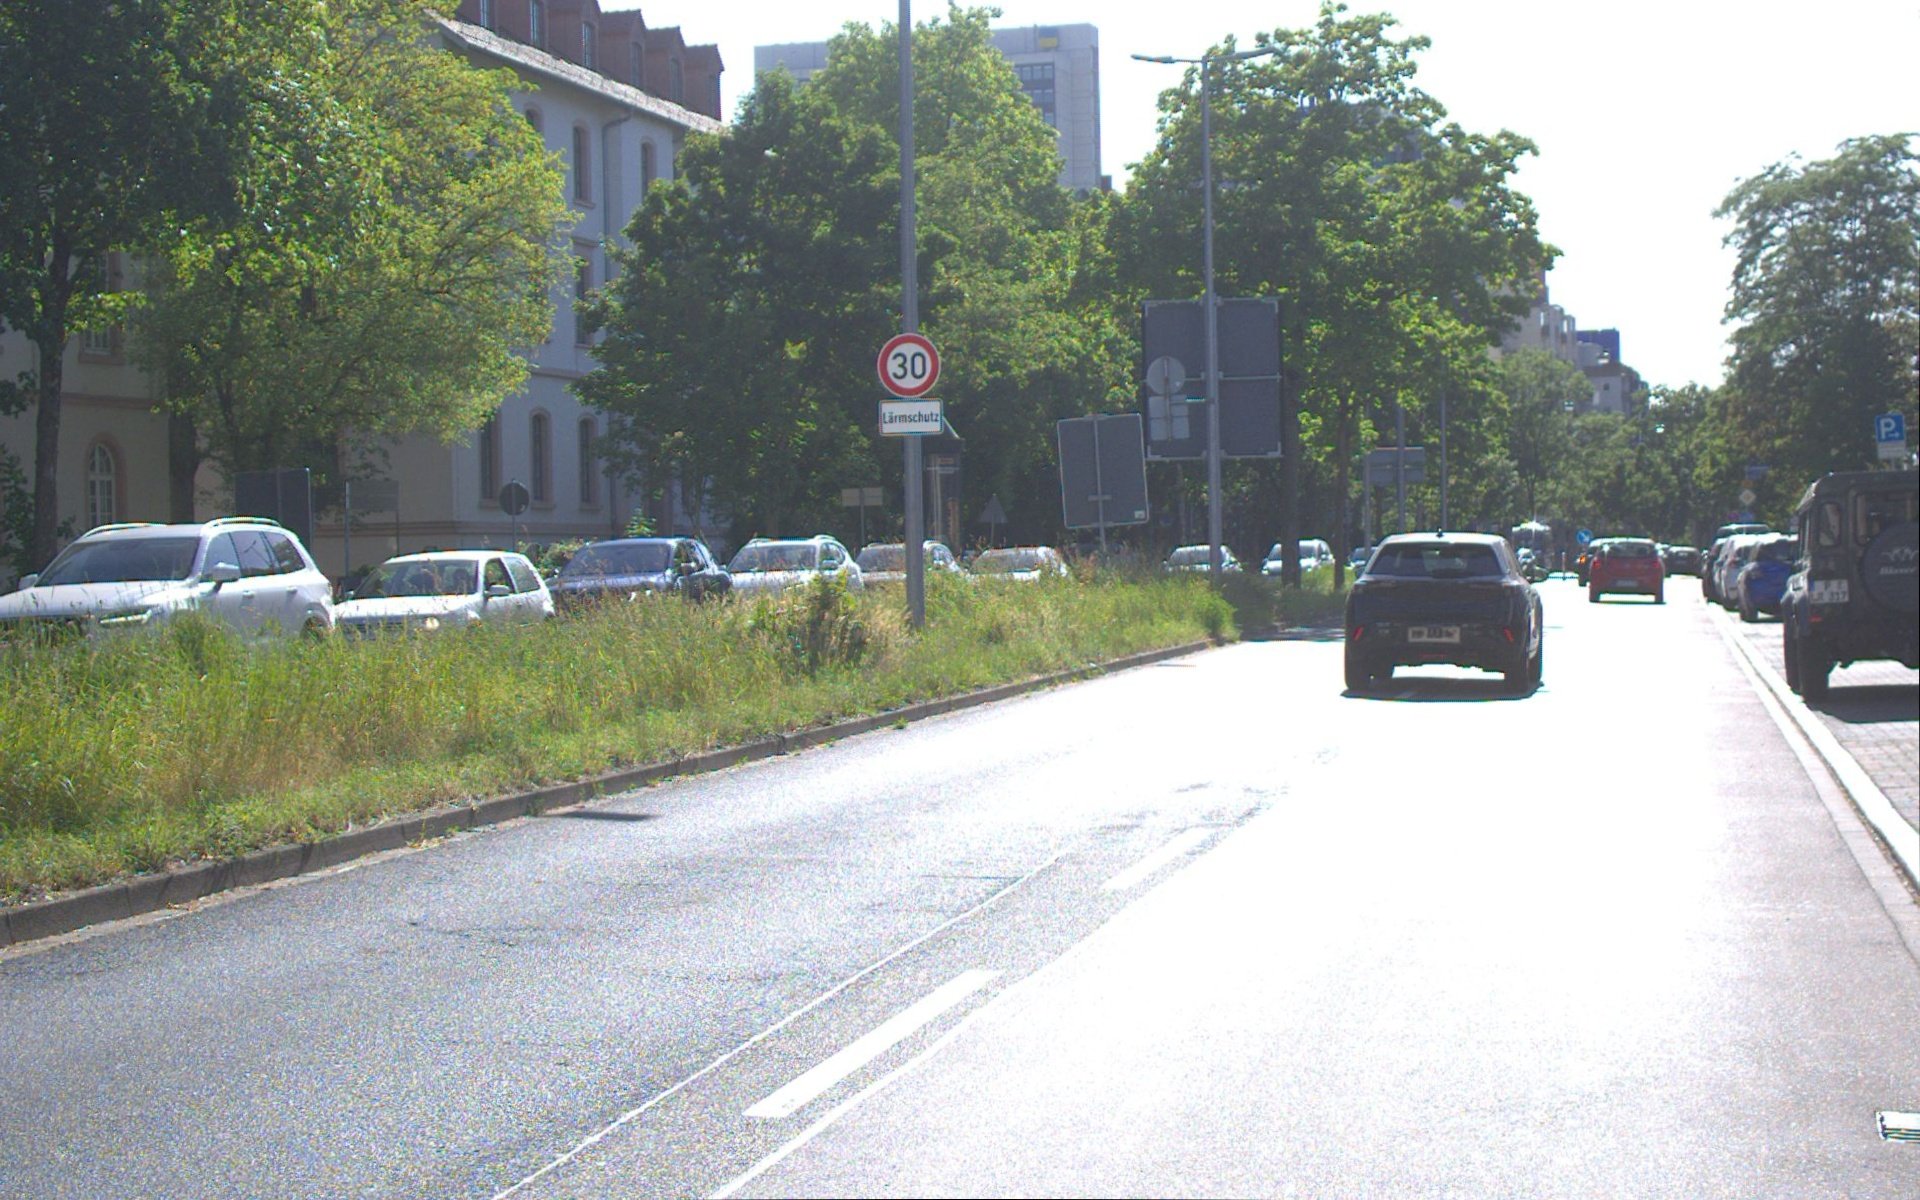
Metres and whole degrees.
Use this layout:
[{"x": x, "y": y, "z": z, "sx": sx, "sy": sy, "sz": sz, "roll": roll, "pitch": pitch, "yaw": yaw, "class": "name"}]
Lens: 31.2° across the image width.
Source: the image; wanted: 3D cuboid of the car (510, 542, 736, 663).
[{"x": -4.425, "y": 0.001, "z": 45.798, "sx": 1.796, "sy": 1.514, "sz": 4.442, "roll": -1, "pitch": 1, "yaw": 11, "class": "car"}]

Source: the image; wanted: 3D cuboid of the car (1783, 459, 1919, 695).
[{"x": 8.636, "y": -0.238, "z": 32.000, "sx": 1.661, "sy": 2.007, "sz": 4.774, "roll": -2, "pitch": 0, "yaw": 12, "class": "car"}]

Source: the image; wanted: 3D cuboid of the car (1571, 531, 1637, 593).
[{"x": 20.066, "y": -1.186, "z": 107.171, "sx": 1.962, "sy": 1.875, "sz": 3.998, "roll": -1, "pitch": 1, "yaw": 10, "class": "car"}]

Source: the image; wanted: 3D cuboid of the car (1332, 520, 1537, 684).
[{"x": 4.813, "y": -0.019, "z": 34.582, "sx": 1.895, "sy": 1.514, "sz": 3.999, "roll": 1, "pitch": 1, "yaw": 9, "class": "car"}]

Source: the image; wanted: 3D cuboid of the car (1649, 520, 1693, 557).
[{"x": 33.001, "y": -2.865, "z": 159.652, "sx": 1.921, "sy": 1.634, "sz": 3.998, "roll": -1, "pitch": 1, "yaw": 11, "class": "car"}]

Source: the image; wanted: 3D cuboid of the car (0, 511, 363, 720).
[{"x": -7.196, "y": 0.097, "z": 31.301, "sx": 1.796, "sy": 1.737, "sz": 5.030, "roll": -1, "pitch": 1, "yaw": 11, "class": "car"}]

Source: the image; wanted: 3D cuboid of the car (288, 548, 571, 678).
[{"x": -5.851, "y": 0.108, "z": 38.444, "sx": 1.796, "sy": 1.347, "sz": 4.256, "roll": -1, "pitch": 1, "yaw": 11, "class": "car"}]

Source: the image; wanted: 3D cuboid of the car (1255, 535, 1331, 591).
[{"x": 10.330, "y": -1.162, "z": 106.408, "sx": 1.901, "sy": 1.620, "sz": 4.535, "roll": -2, "pitch": 1, "yaw": 11, "class": "car"}]

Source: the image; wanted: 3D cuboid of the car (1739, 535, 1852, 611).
[{"x": 15.001, "y": -0.500, "z": 61.881, "sx": 1.668, "sy": 1.178, "sz": 3.899, "roll": -4, "pitch": 1, "yaw": 10, "class": "car"}]

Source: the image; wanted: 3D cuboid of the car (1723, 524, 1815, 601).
[{"x": 16.804, "y": -0.798, "z": 71.551, "sx": 1.609, "sy": 1.441, "sz": 3.657, "roll": -4, "pitch": 1, "yaw": 11, "class": "car"}]

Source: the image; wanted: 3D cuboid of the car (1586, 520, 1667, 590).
[{"x": 15.504, "y": -1.070, "z": 79.934, "sx": 1.793, "sy": 1.515, "sz": 3.847, "roll": 0, "pitch": 2, "yaw": 11, "class": "car"}]

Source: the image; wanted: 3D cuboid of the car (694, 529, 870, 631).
[{"x": -2.744, "y": -0.338, "z": 54.006, "sx": 1.796, "sy": 1.514, "sz": 4.256, "roll": -1, "pitch": 1, "yaw": 11, "class": "car"}]
